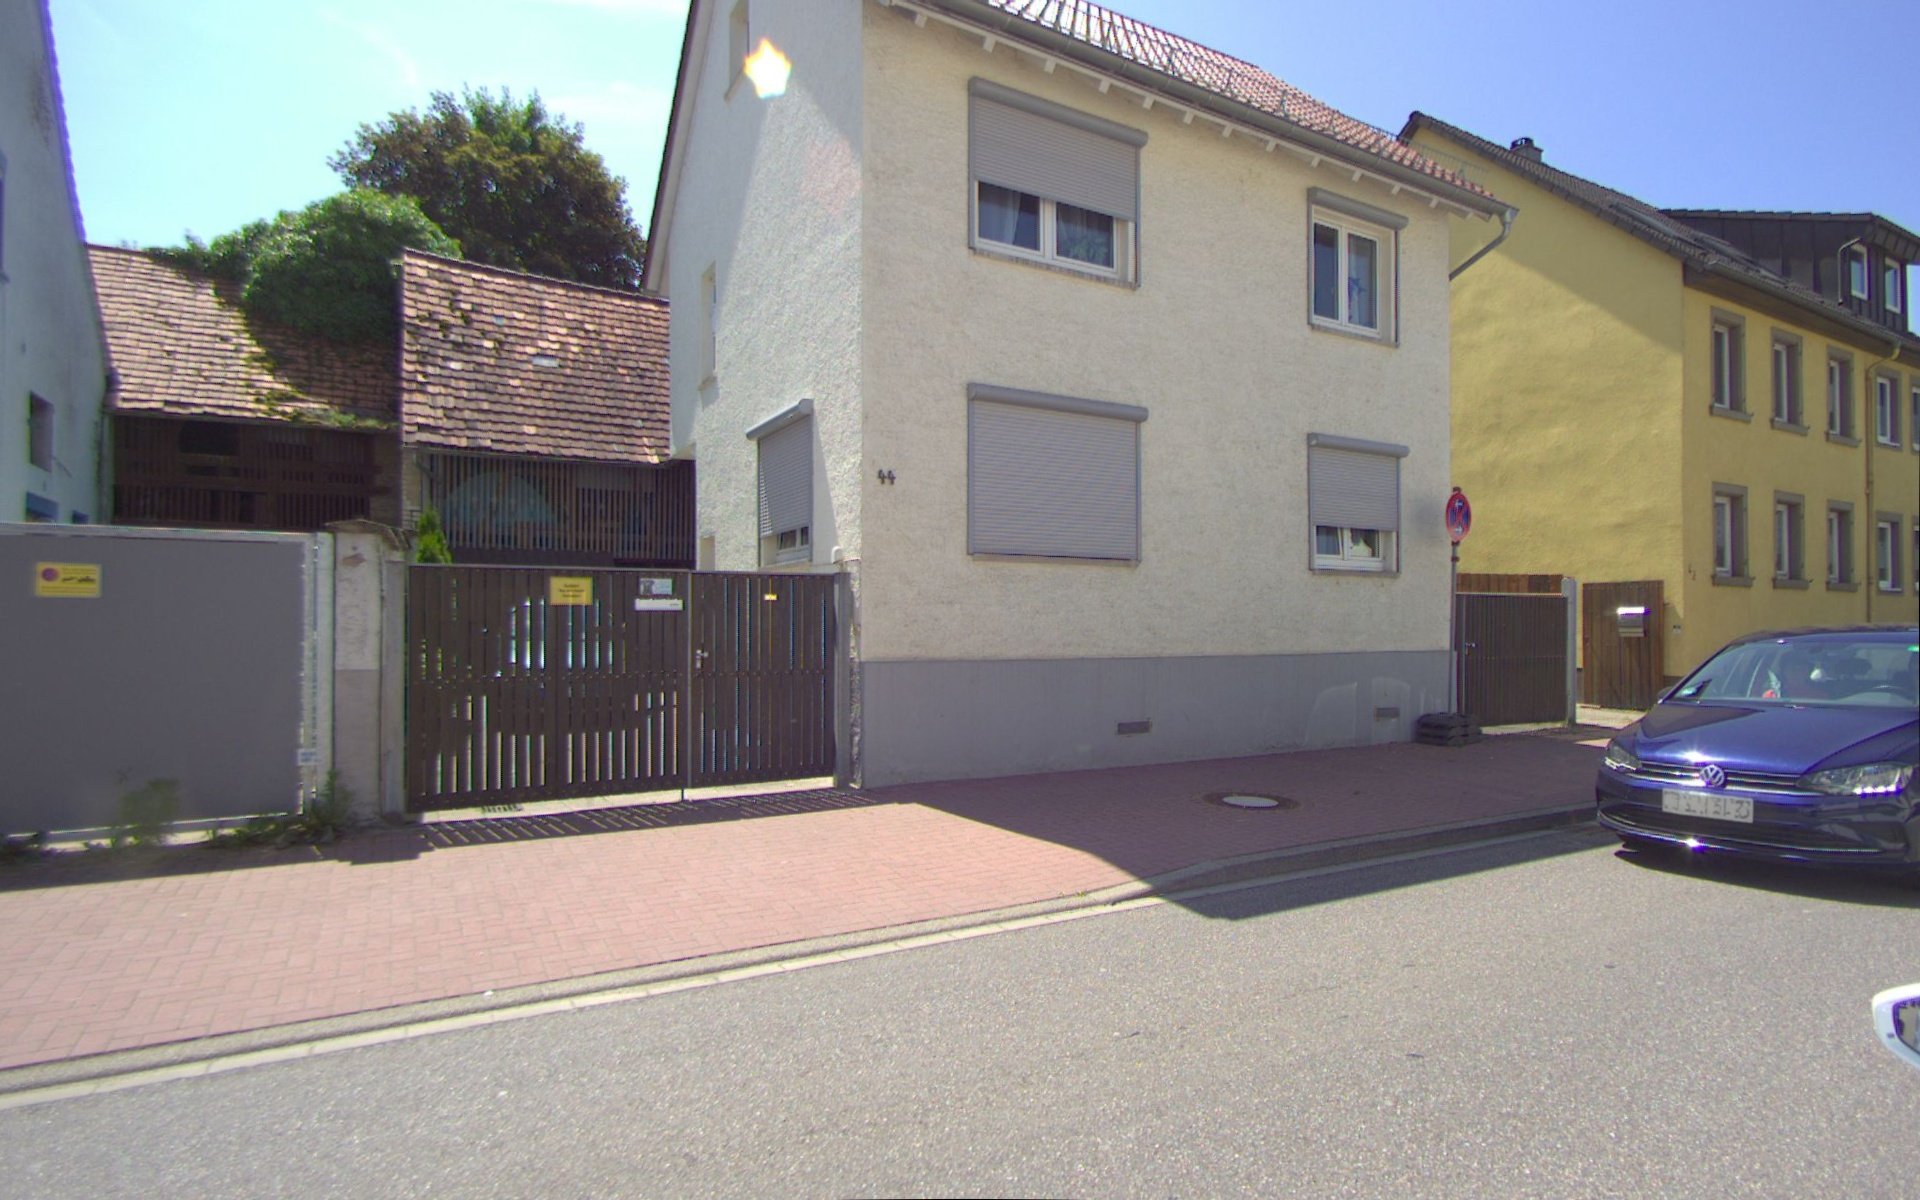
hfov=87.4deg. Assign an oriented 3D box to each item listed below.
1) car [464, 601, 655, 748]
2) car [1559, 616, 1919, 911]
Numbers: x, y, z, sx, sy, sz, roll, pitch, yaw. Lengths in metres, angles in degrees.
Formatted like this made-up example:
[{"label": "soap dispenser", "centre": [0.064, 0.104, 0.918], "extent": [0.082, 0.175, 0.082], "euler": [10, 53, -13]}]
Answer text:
[{"label": "car", "centre": [-5.271, 0.813, 12.916], "extent": [1.711, 1.522, 3.930], "euler": [1, 0, -30]}, {"label": "car", "centre": [6.266, 0.932, 7.118], "extent": [4.031, 1.556, 1.756], "euler": [1, -3, -31]}]
